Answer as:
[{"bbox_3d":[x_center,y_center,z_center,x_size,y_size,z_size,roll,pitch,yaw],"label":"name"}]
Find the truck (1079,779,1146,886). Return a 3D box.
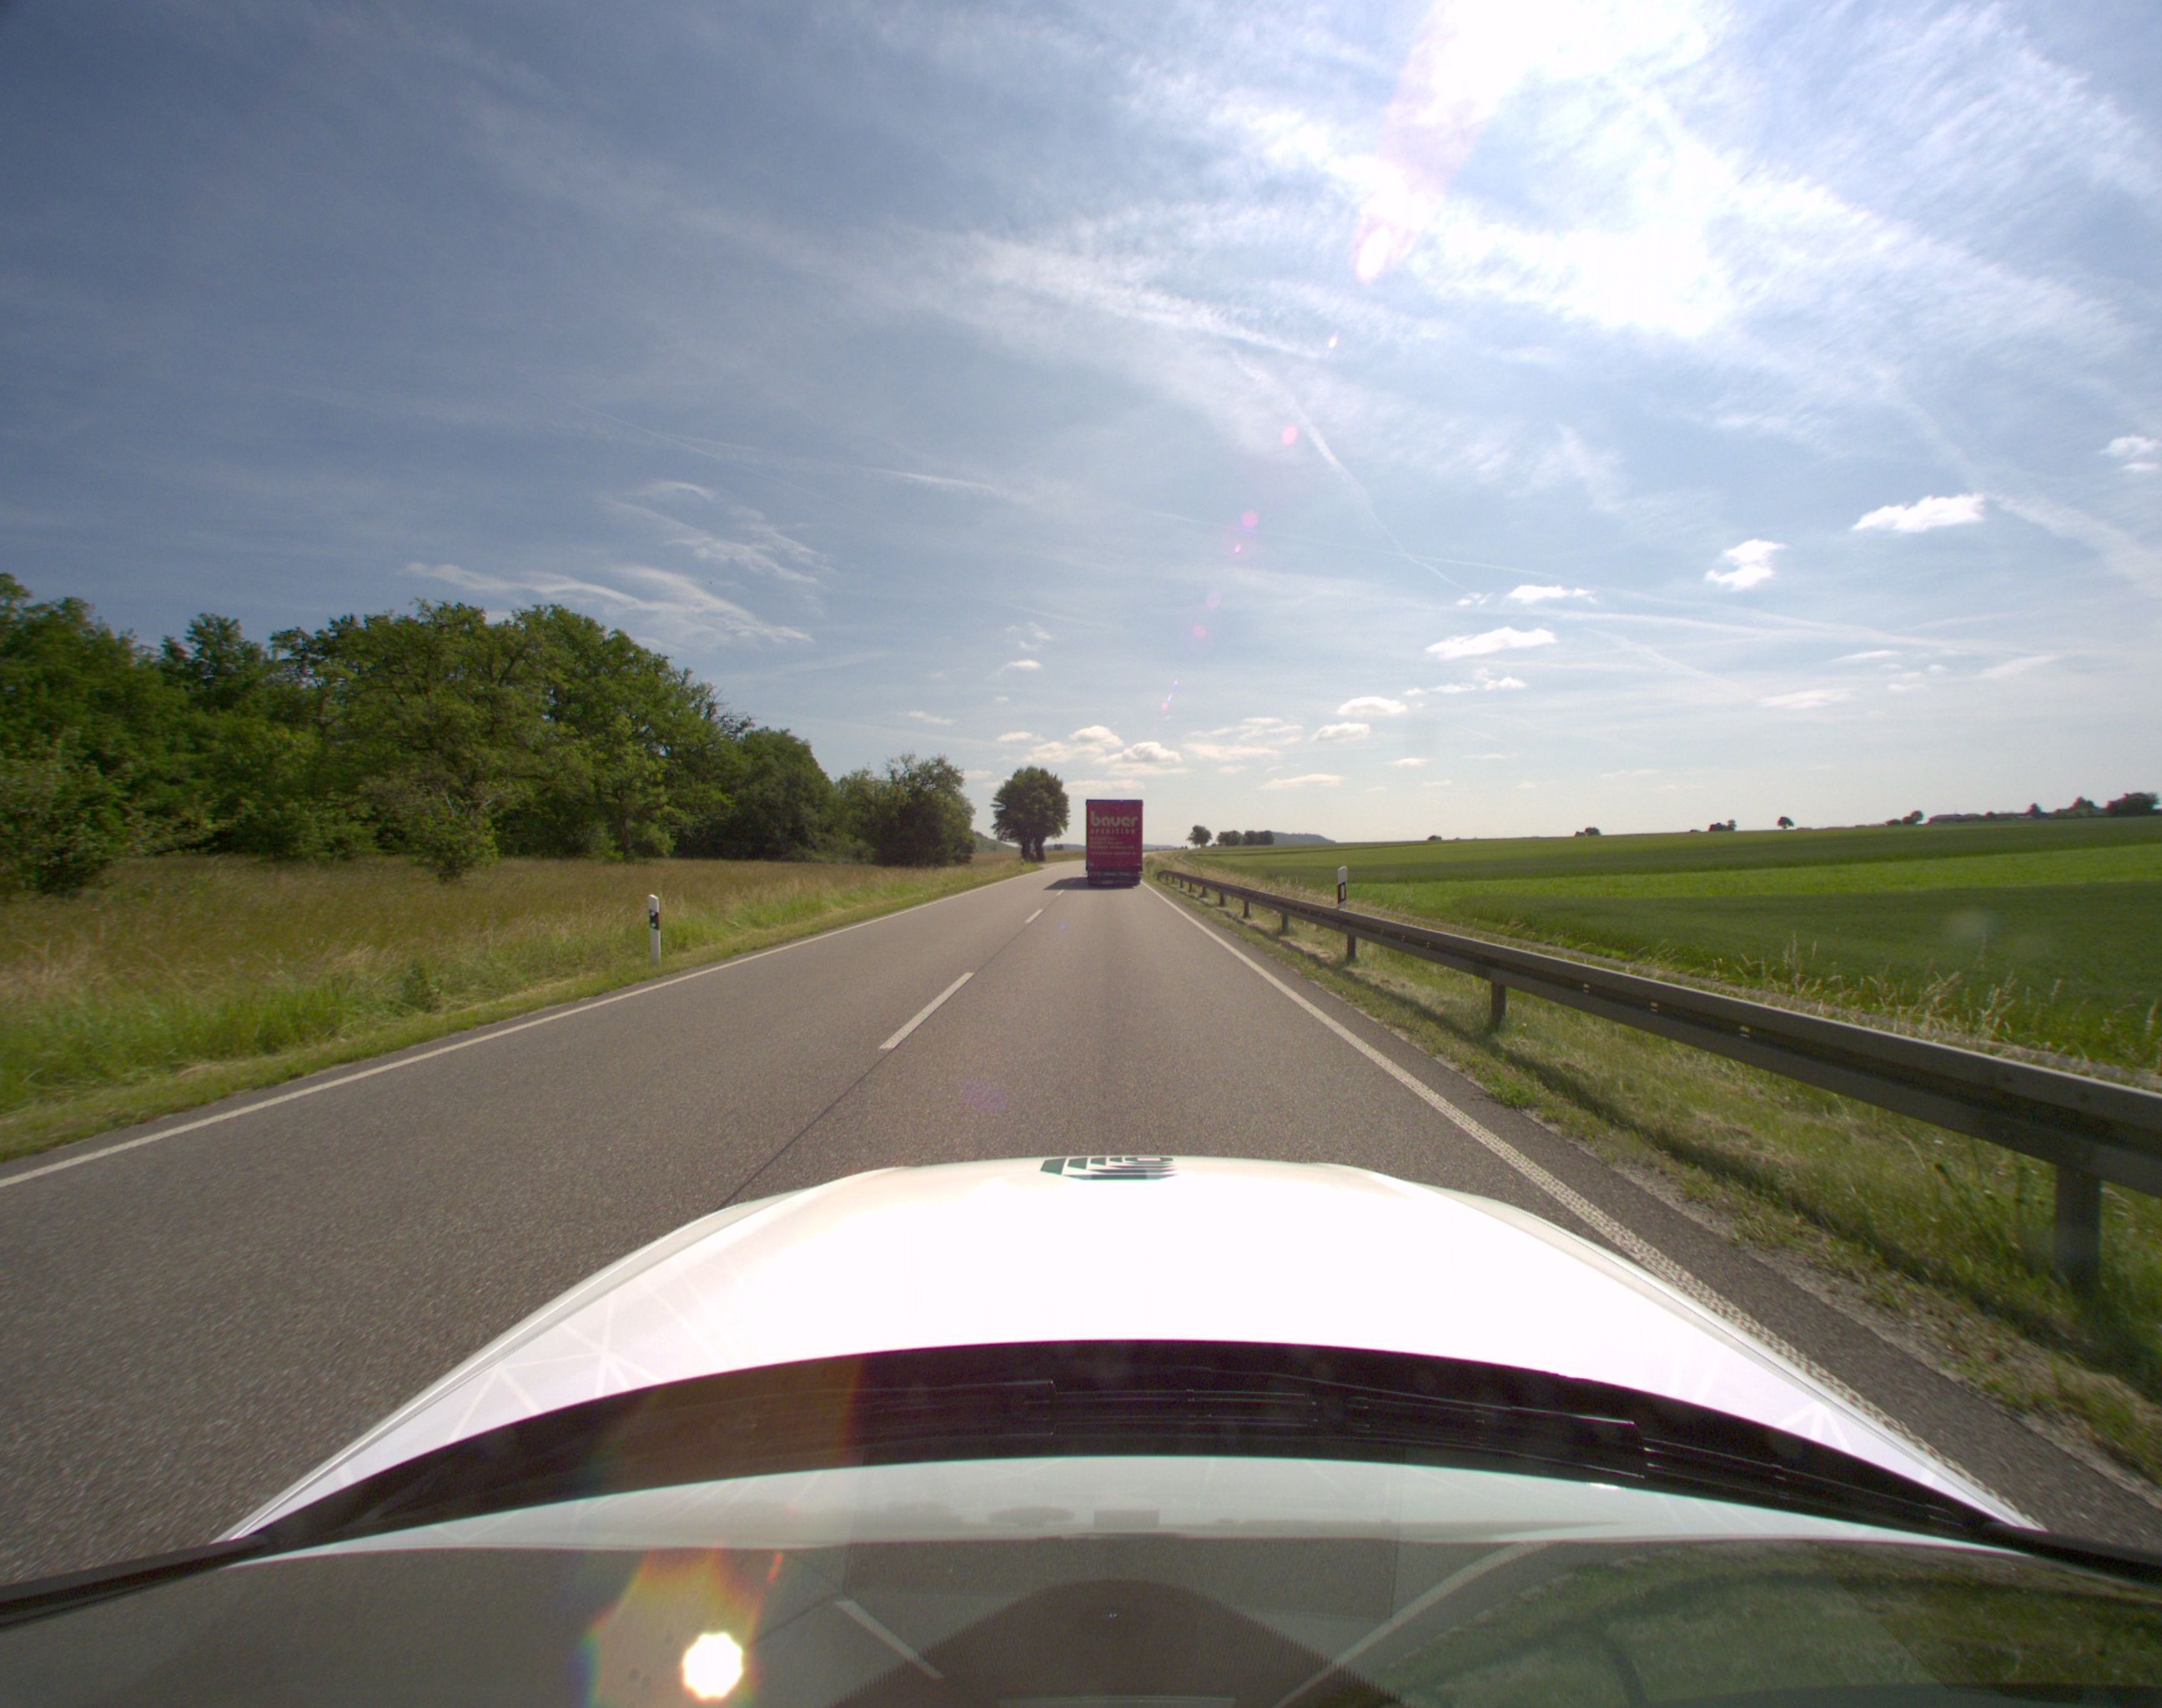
[{"bbox_3d":[1.443,-0.902,40.564,2.965,4.713,9.365,0,-1,1],"label":"truck"}]
